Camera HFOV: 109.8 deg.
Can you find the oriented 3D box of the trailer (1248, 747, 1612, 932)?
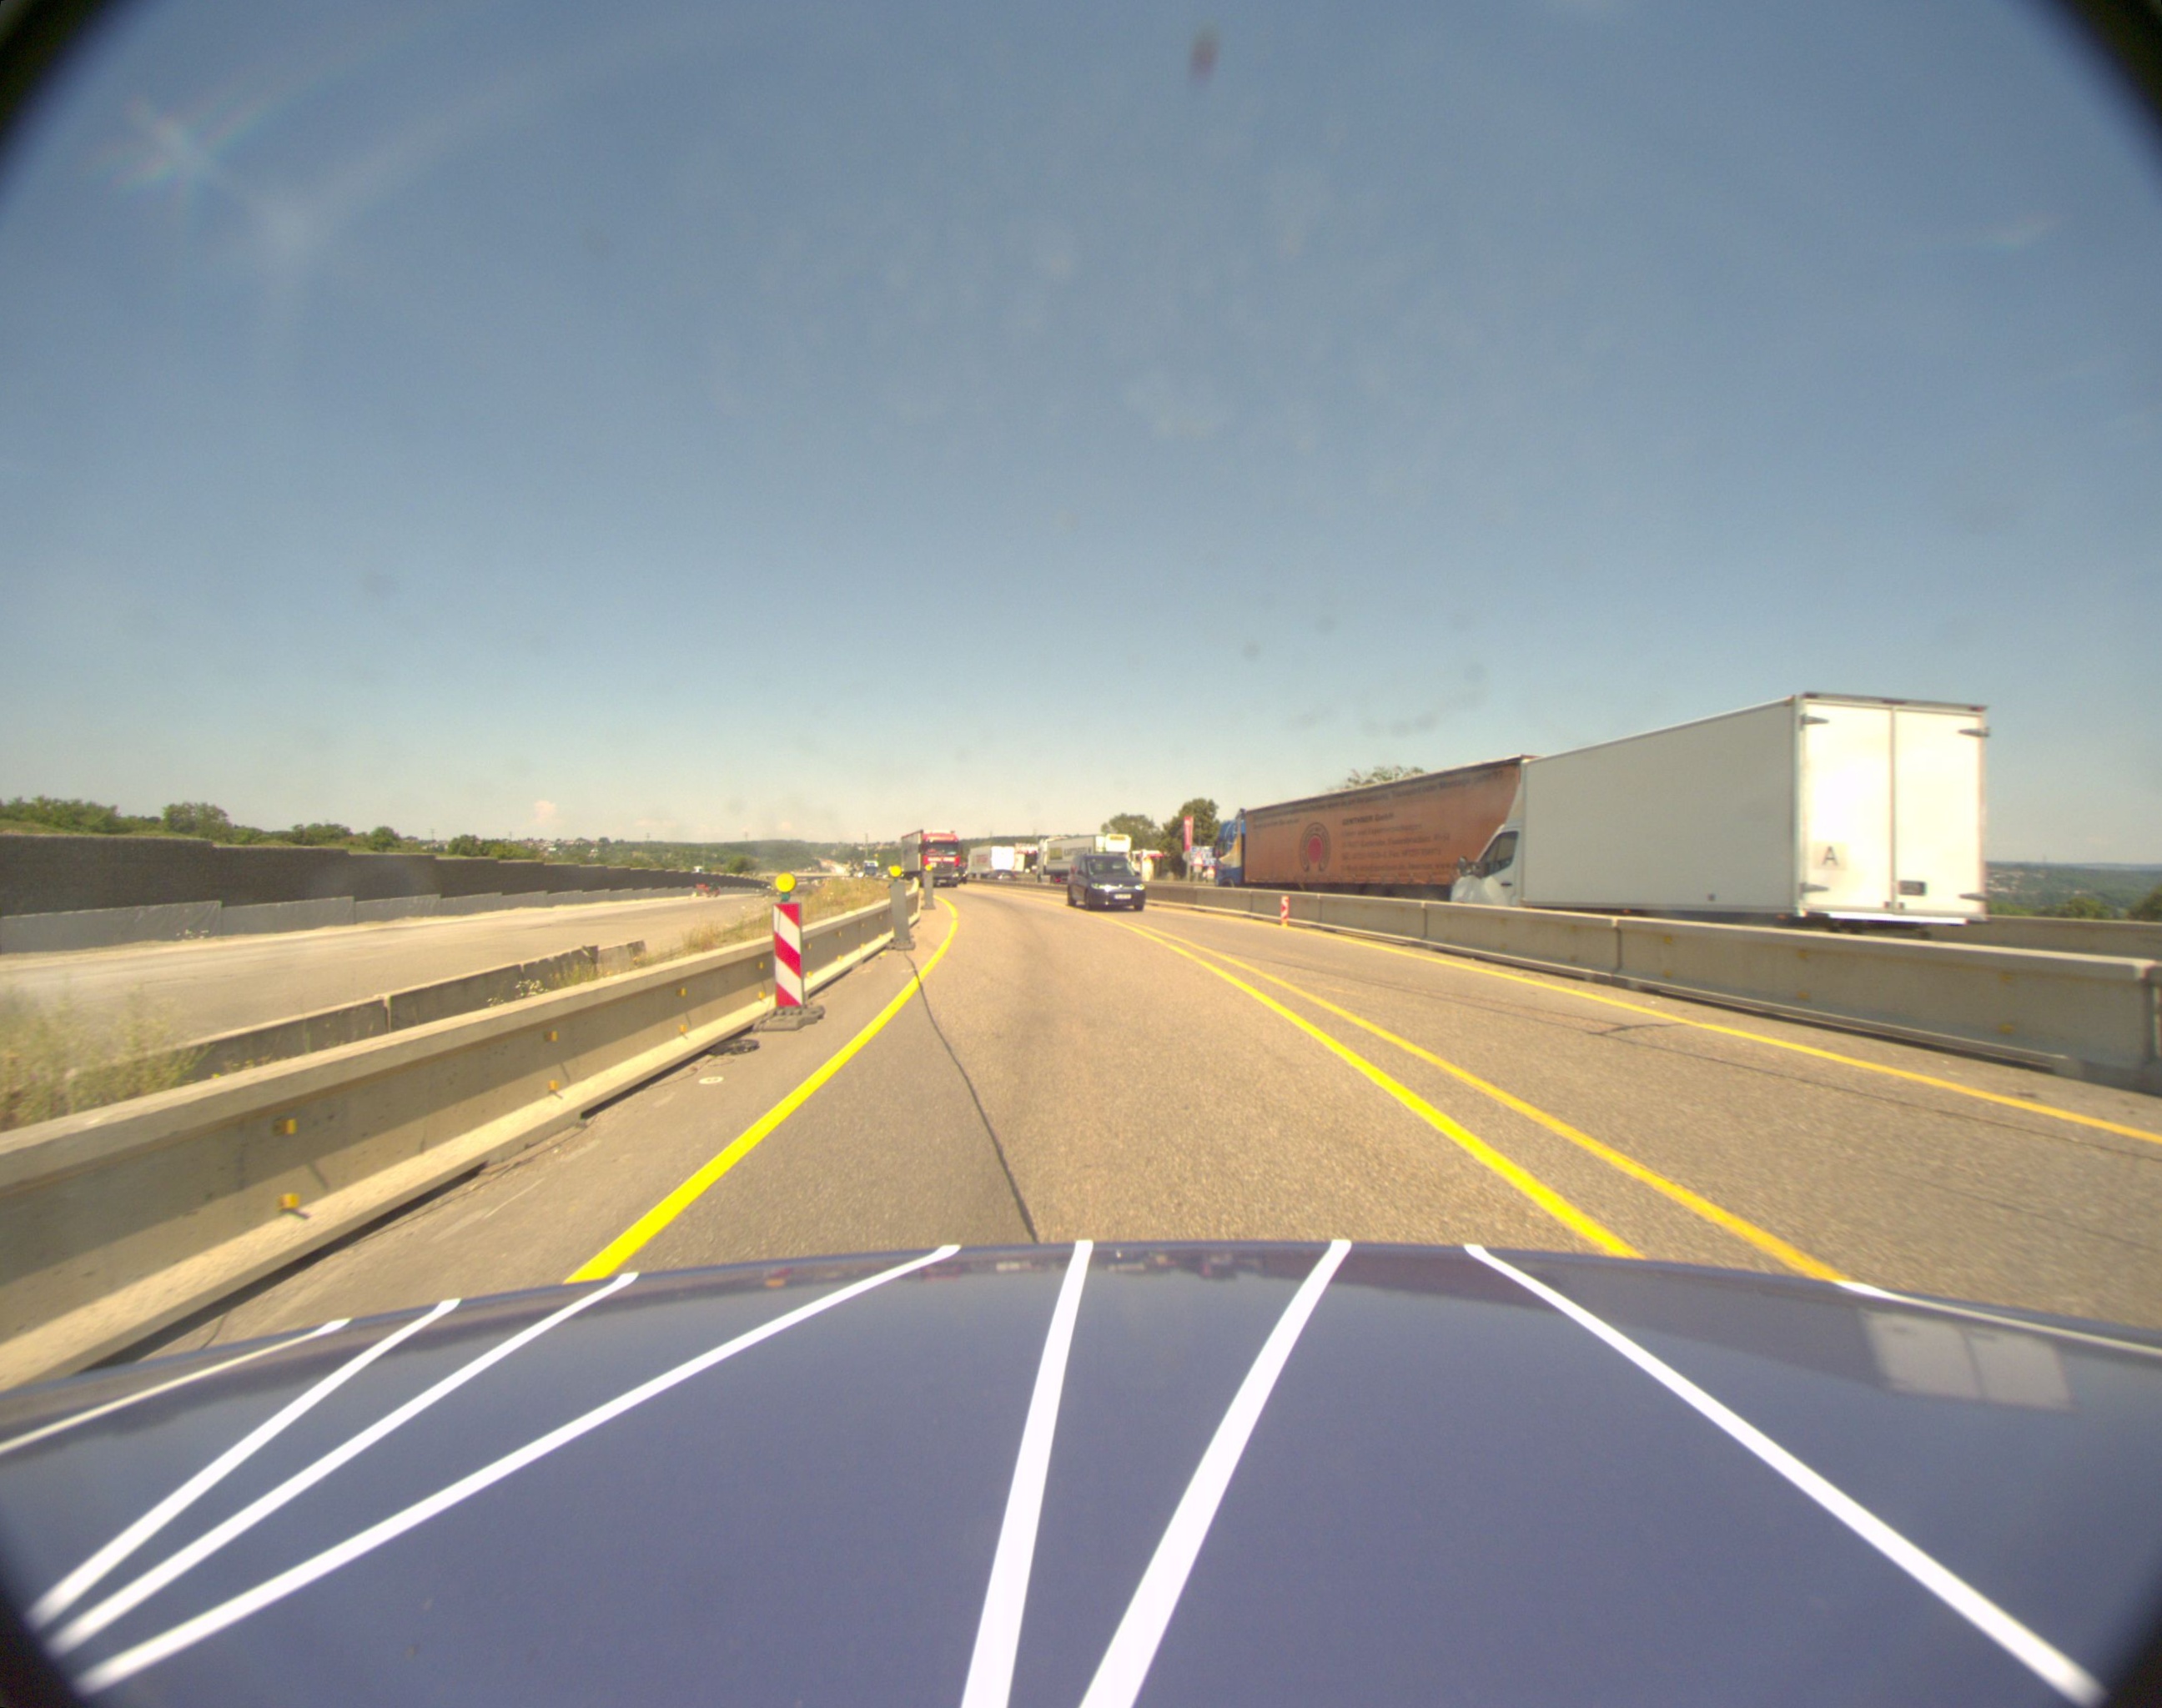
[{"bbox_3d":[9.367,-0.277,23.534,2.597,4.127,13.048,0,0,-14],"label":"trailer"}]

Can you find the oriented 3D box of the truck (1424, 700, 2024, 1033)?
[{"bbox_3d":[8.208,0.151,11.247,2.587,3.361,6.924,0,0,-6],"label":"truck"}]

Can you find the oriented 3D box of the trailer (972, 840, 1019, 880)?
[{"bbox_3d":[-9.822,0.749,85.641,2.827,4.069,13.104,0,-1,-18],"label":"trailer"}]

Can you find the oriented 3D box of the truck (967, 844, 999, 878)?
[{"bbox_3d":[-11.974,0.848,92.383,2.842,4.107,5.450,0,0,-18],"label":"truck"}]

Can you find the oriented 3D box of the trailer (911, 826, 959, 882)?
[{"bbox_3d":[-11.527,0.058,59.172,2.705,3.852,12.406,0,0,-15],"label":"trailer"}]

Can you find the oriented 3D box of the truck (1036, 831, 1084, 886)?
[{"bbox_3d":[-1.686,0.344,58.631,2.458,3.984,5.070,0,0,-17],"label":"truck"}]

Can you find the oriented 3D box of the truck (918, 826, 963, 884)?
[{"bbox_3d":[-9.895,0.078,53.172,2.630,3.880,4.927,0,0,-16],"label":"truck"}]

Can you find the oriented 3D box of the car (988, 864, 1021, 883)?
[{"bbox_3d":[-6.443,1.586,63.271,1.761,1.469,4.529,0,0,-19],"label":"car"}]

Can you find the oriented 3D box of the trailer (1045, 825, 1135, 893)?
[{"bbox_3d":[0.287,0.345,52.140,2.363,4.127,12.480,0,0,-17],"label":"trailer"}]

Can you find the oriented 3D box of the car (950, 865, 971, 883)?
[{"bbox_3d":[-10.769,1.746,67.727,1.429,1.477,3.410,0,0,-17],"label":"car"}]

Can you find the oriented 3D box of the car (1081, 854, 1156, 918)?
[{"bbox_3d":[1.070,0.950,23.926,1.926,1.778,4.603,-1,-1,-2],"label":"car"}]

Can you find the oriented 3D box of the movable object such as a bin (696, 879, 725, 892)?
[{"bbox_3d":[-64.232,5.449,131.826,4.142,2.135,1.758,0,0,-44],"label":"movable object such as a bin"}]

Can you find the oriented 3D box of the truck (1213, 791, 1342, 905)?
[{"bbox_3d":[7.608,-0.196,30.165,2.554,4.056,5.538,0,0,-15],"label":"truck"}]
